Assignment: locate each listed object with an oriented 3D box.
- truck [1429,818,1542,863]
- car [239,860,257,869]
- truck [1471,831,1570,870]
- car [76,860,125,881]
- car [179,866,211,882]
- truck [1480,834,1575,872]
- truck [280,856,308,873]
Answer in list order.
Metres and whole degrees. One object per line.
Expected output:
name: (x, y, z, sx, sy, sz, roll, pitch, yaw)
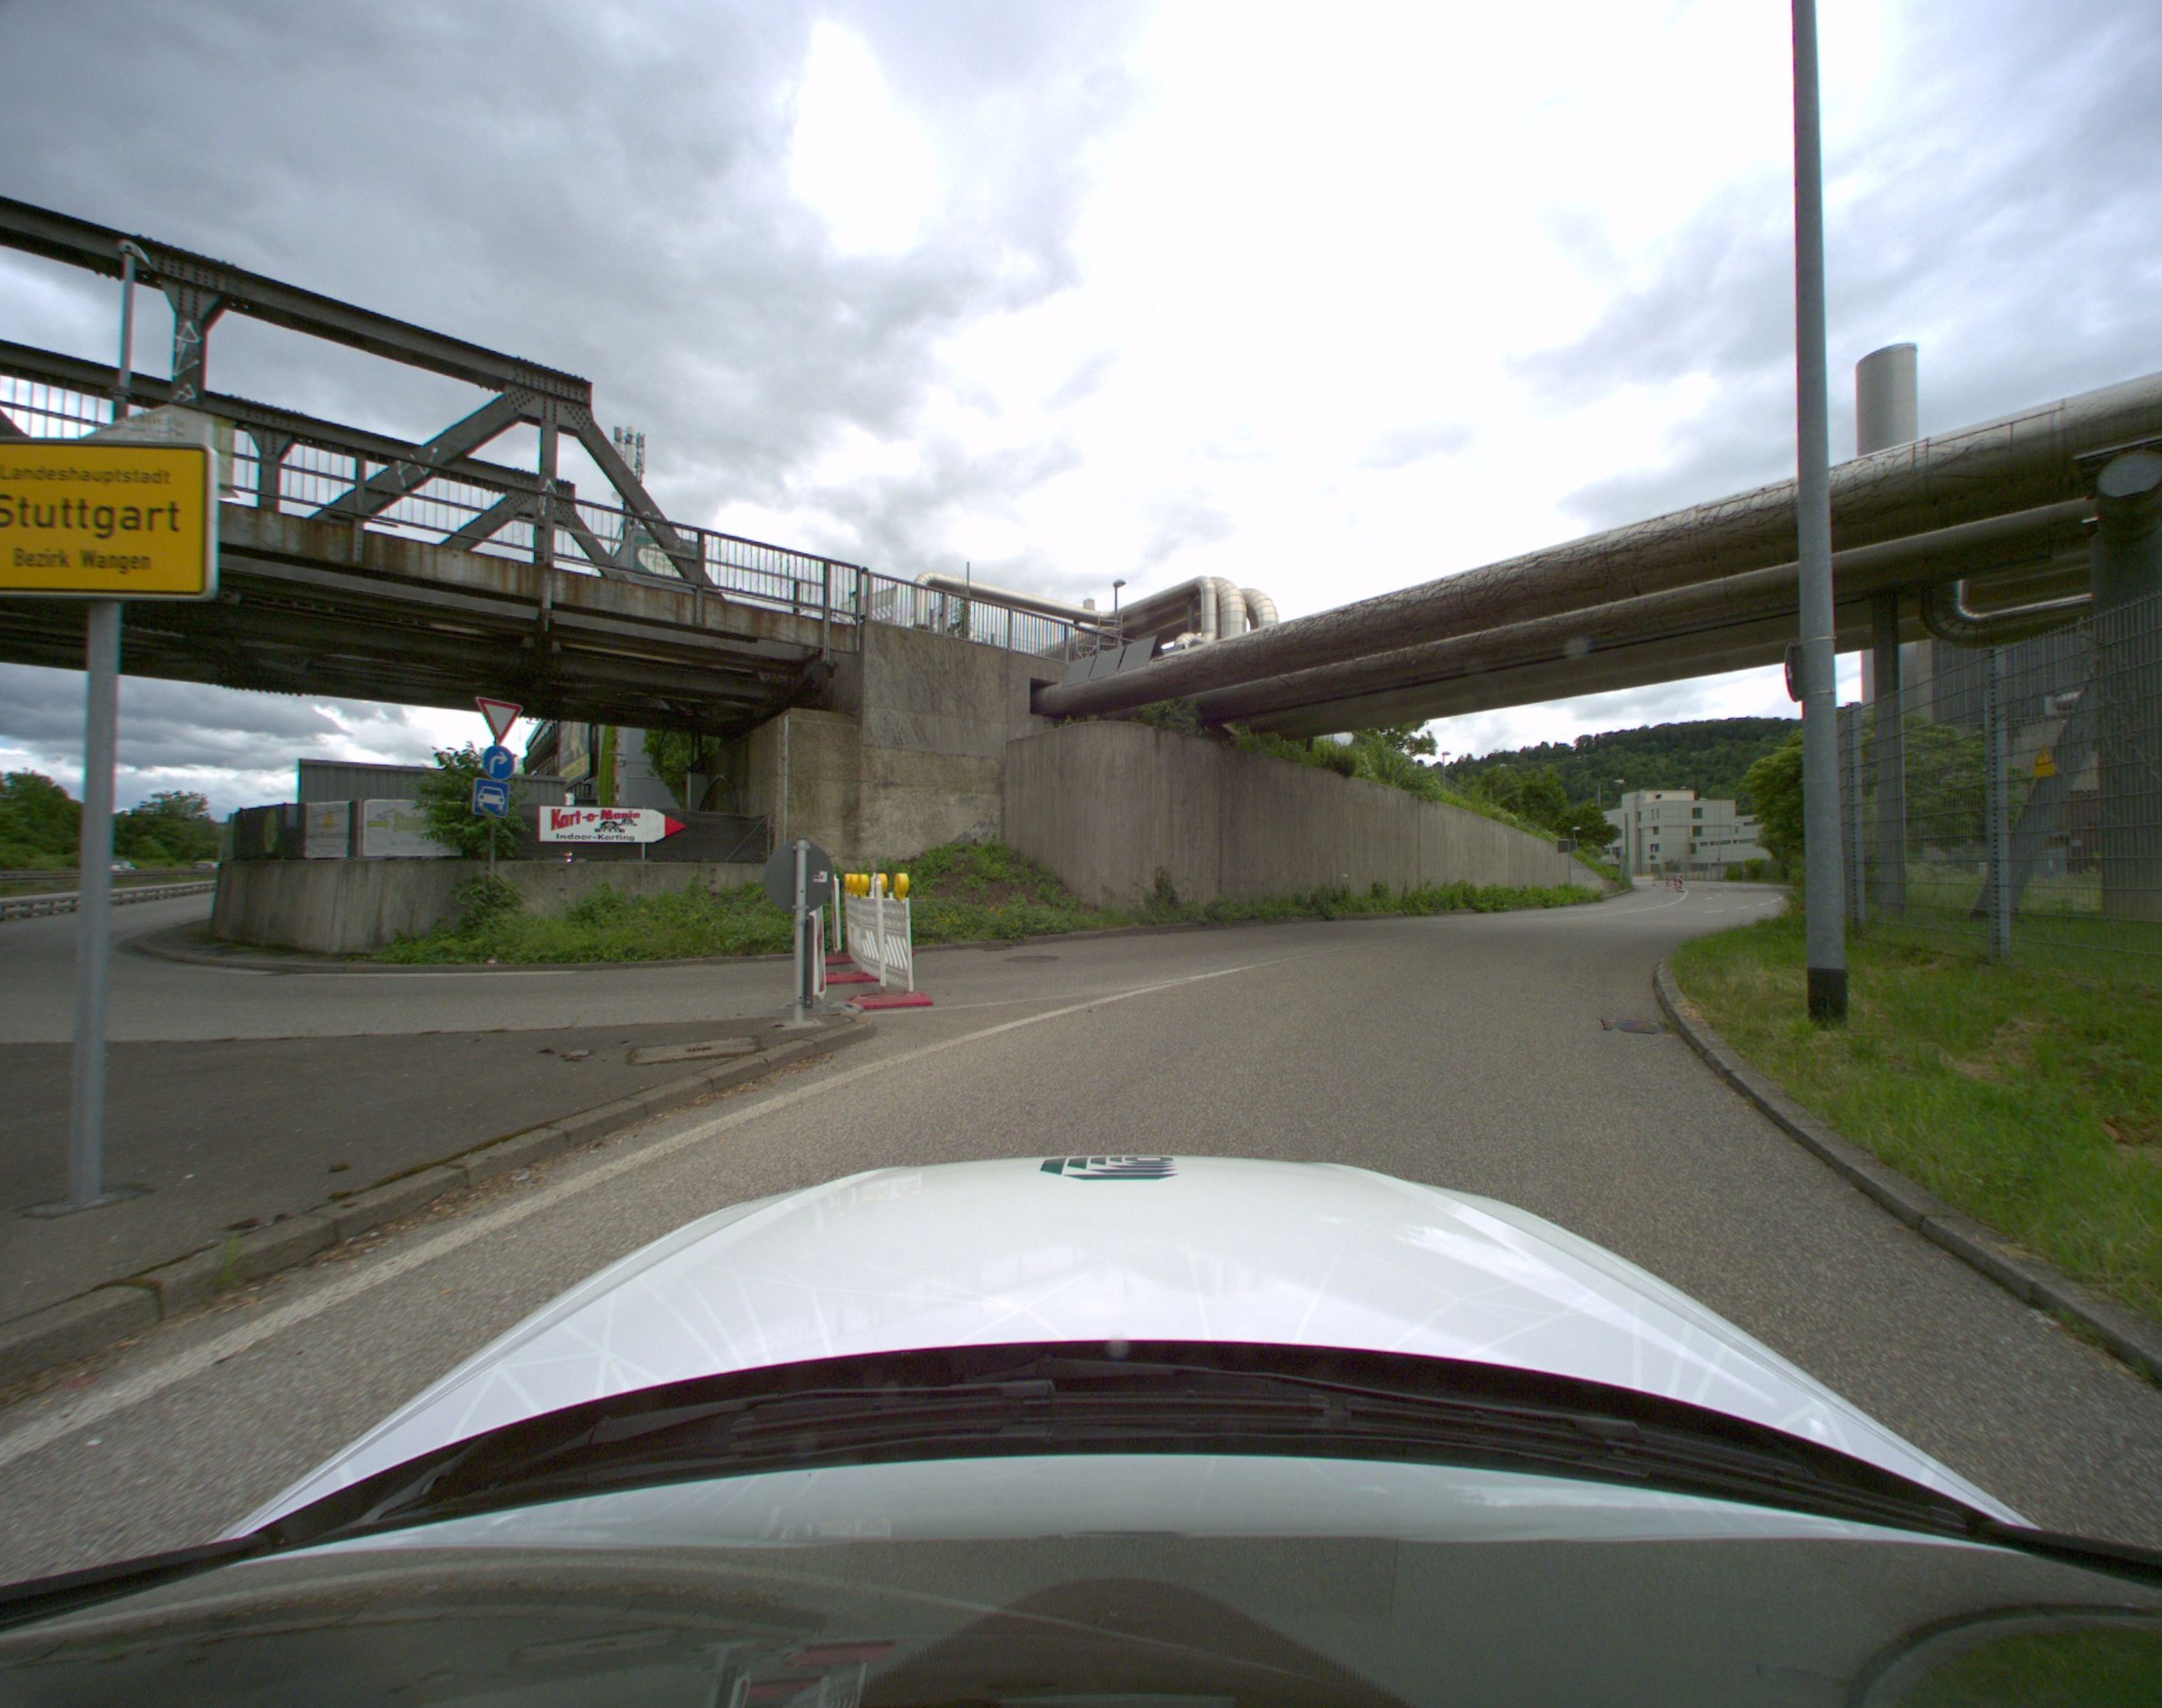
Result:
truck: (34.243, -1.102, 69.287, 8.080, 3.539, 3.059, 1, -3, 9)
car: (-146.730, 1.878, 143.460, 1.794, 1.596, 3.706, 1, -2, -39)
truck: (41.870, -0.304, 77.866, 7.784, 3.539, 3.063, 0, -3, 14)
car: (-85.478, 1.483, 71.043, 2.010, 1.759, 3.953, 1, -2, -40)
car: (-103.126, 2.326, 94.834, 2.010, 1.759, 3.952, 1, -2, -41)
truck: (44.600, -0.110, 81.549, 7.790, 3.539, 3.061, 0, -3, 11)
truck: (-175.506, 2.334, 181.646, 3.750, 3.646, 7.637, 2, -2, -39)
